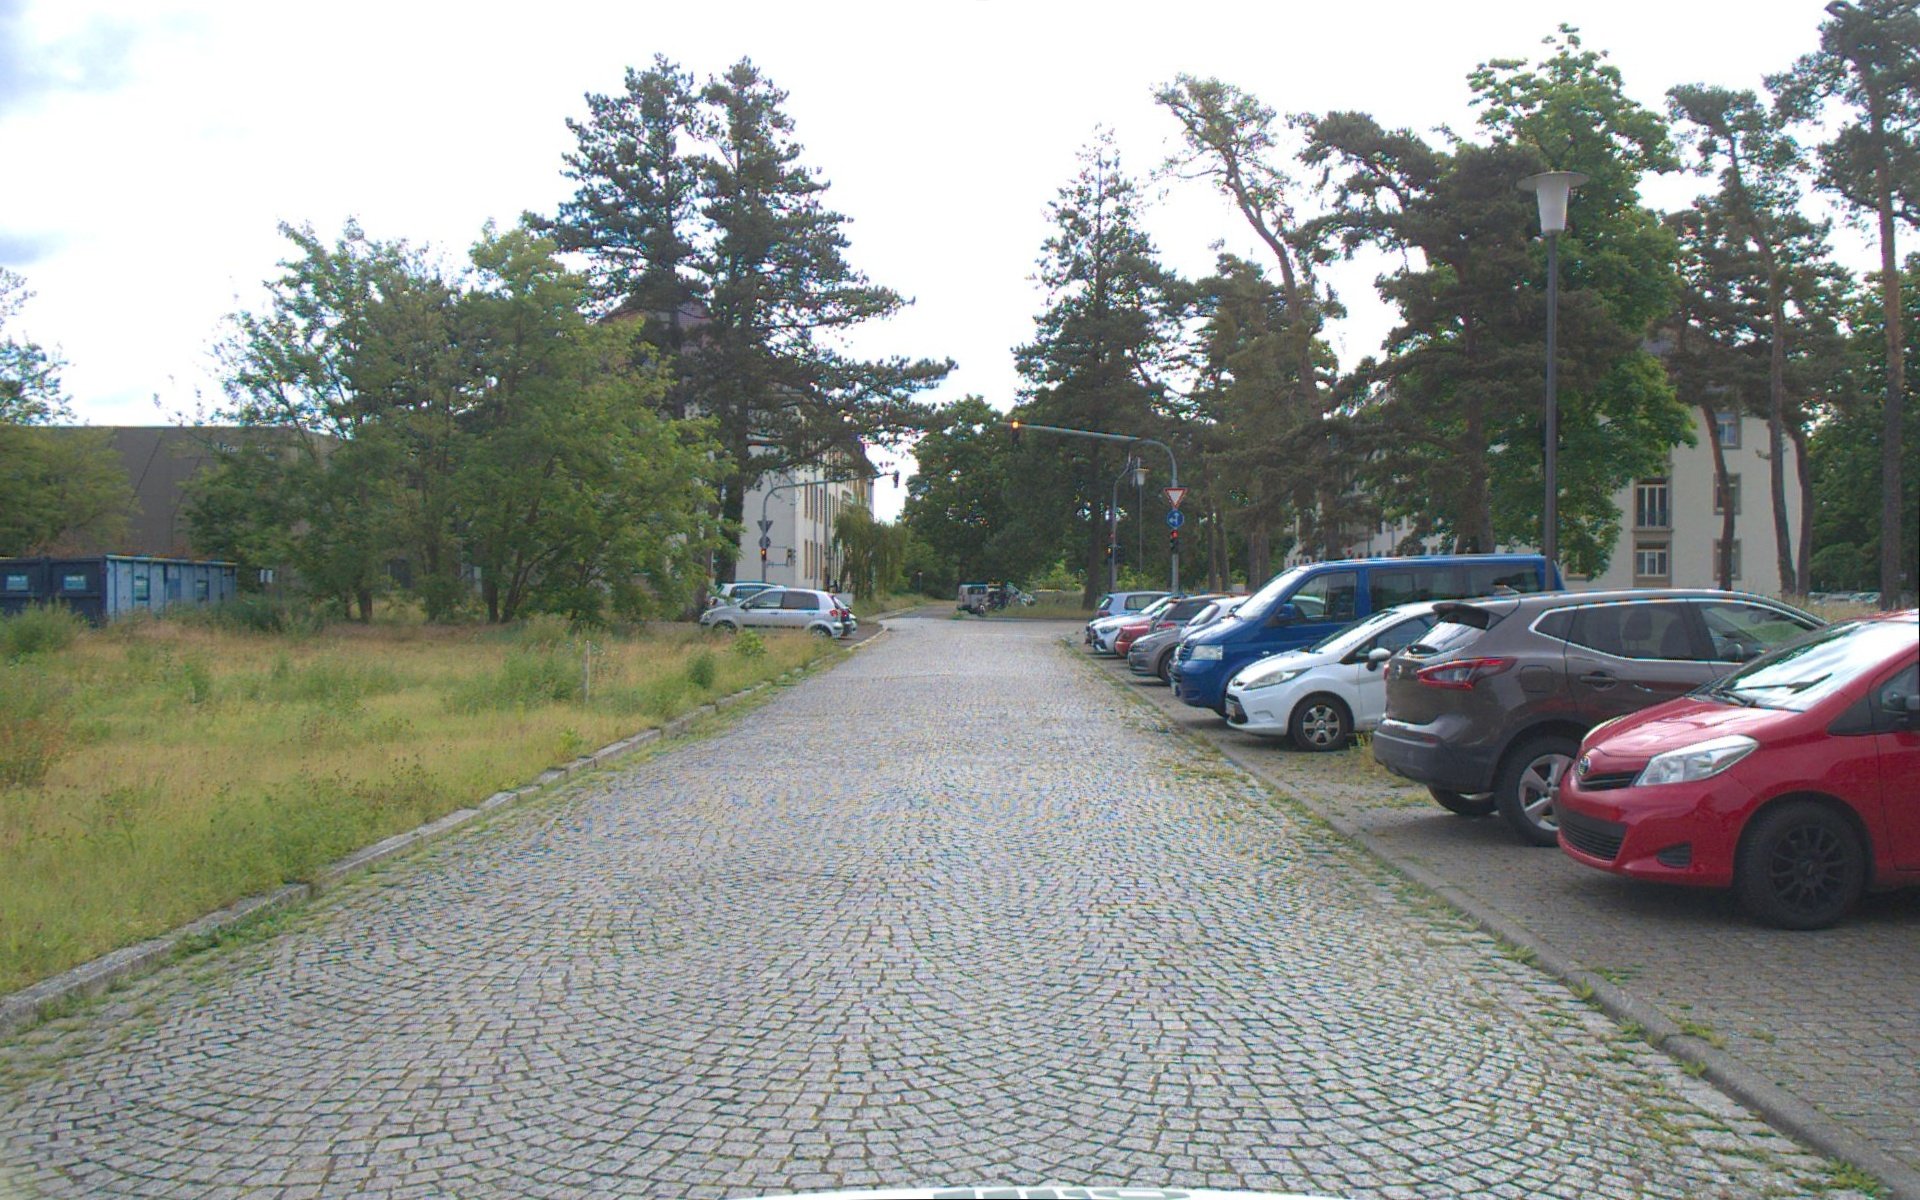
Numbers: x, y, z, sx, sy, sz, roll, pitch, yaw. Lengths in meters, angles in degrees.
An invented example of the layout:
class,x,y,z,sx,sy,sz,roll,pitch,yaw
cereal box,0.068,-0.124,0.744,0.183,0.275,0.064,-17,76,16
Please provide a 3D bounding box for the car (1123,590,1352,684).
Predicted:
class,x,y,z,sx,sy,sz,roll,pitch,yaw
car,4.679,0.605,28.192,3.597,1.475,1.523,-1,0,-1

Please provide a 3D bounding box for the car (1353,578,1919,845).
class,x,y,z,sx,sy,sz,roll,pitch,yaw
car,4.858,0.678,11.162,3.947,1.579,1.750,-1,0,-2

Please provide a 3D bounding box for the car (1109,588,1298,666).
class,x,y,z,sx,sy,sz,roll,pitch,yaw
car,4.948,0.540,33.885,3.597,1.475,1.523,-1,0,-1

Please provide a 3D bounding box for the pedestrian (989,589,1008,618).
class,x,y,z,sx,sy,sz,roll,pitch,yaw
pedestrian,2.177,0.205,93.226,1.013,1.642,0.757,1,0,-4

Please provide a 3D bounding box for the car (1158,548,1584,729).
class,x,y,z,sx,sy,sz,roll,pitch,yaw
car,4.884,0.446,20.132,4.658,1.989,1.931,-1,0,-2

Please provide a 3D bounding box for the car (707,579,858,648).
class,x,y,z,sx,sy,sz,roll,pitch,yaw
car,-5.146,0.379,48.336,4.175,1.873,1.743,-1,0,0

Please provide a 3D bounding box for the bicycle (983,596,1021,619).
class,x,y,z,sx,sy,sz,roll,pitch,yaw
bicycle,2.368,0.417,92.881,2.094,1.236,0.621,1,0,-4

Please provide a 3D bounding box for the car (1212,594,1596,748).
class,x,y,z,sx,sy,sz,roll,pitch,yaw
car,4.621,0.715,17.541,3.598,1.475,1.614,-1,0,-2

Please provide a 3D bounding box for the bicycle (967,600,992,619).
class,x,y,z,sx,sy,sz,roll,pitch,yaw
bicycle,1.051,0.517,88.821,0.612,0.961,1.649,1,0,-27

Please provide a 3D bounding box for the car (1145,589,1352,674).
class,x,y,z,sx,sy,sz,roll,pitch,yaw
car,5.393,0.575,31.175,3.597,1.475,1.523,-1,0,-1

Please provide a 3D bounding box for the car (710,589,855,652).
class,x,y,z,sx,sy,sz,roll,pitch,yaw
car,-4.831,0.557,45.346,3.743,1.600,1.564,-1,0,0

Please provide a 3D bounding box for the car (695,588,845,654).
class,x,y,z,sx,sy,sz,roll,pitch,yaw
car,-4.894,0.529,42.929,3.745,1.600,1.563,-1,0,-3

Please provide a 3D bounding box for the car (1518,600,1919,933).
class,x,y,z,sx,sy,sz,roll,pitch,yaw
car,5.031,0.751,8.510,3.714,1.485,1.751,-1,0,0

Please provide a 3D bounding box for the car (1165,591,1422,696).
class,x,y,z,sx,sy,sz,roll,pitch,yaw
car,5.068,0.651,25.410,3.597,1.475,1.523,-1,0,-1

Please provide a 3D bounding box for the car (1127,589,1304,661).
class,x,y,z,sx,sy,sz,roll,pitch,yaw
car,5.546,0.535,36.166,3.597,1.475,1.523,-1,0,-1

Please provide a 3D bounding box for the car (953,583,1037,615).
class,x,y,z,sx,sy,sz,roll,pitch,yaw
car,2.310,-0.088,110.794,5.344,2.049,2.264,1,0,-9

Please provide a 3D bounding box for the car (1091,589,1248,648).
class,x,y,z,sx,sy,sz,roll,pitch,yaw
car,5.534,0.484,43.925,3.889,1.446,1.618,-1,0,-4

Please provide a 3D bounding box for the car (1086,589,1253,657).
class,x,y,z,sx,sy,sz,roll,pitch,yaw
car,4.840,0.523,38.424,3.599,1.446,1.523,-1,0,-4

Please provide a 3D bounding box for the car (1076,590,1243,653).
class,x,y,z,sx,sy,sz,roll,pitch,yaw
car,4.950,0.514,41.279,3.889,1.446,1.618,-1,0,-4
